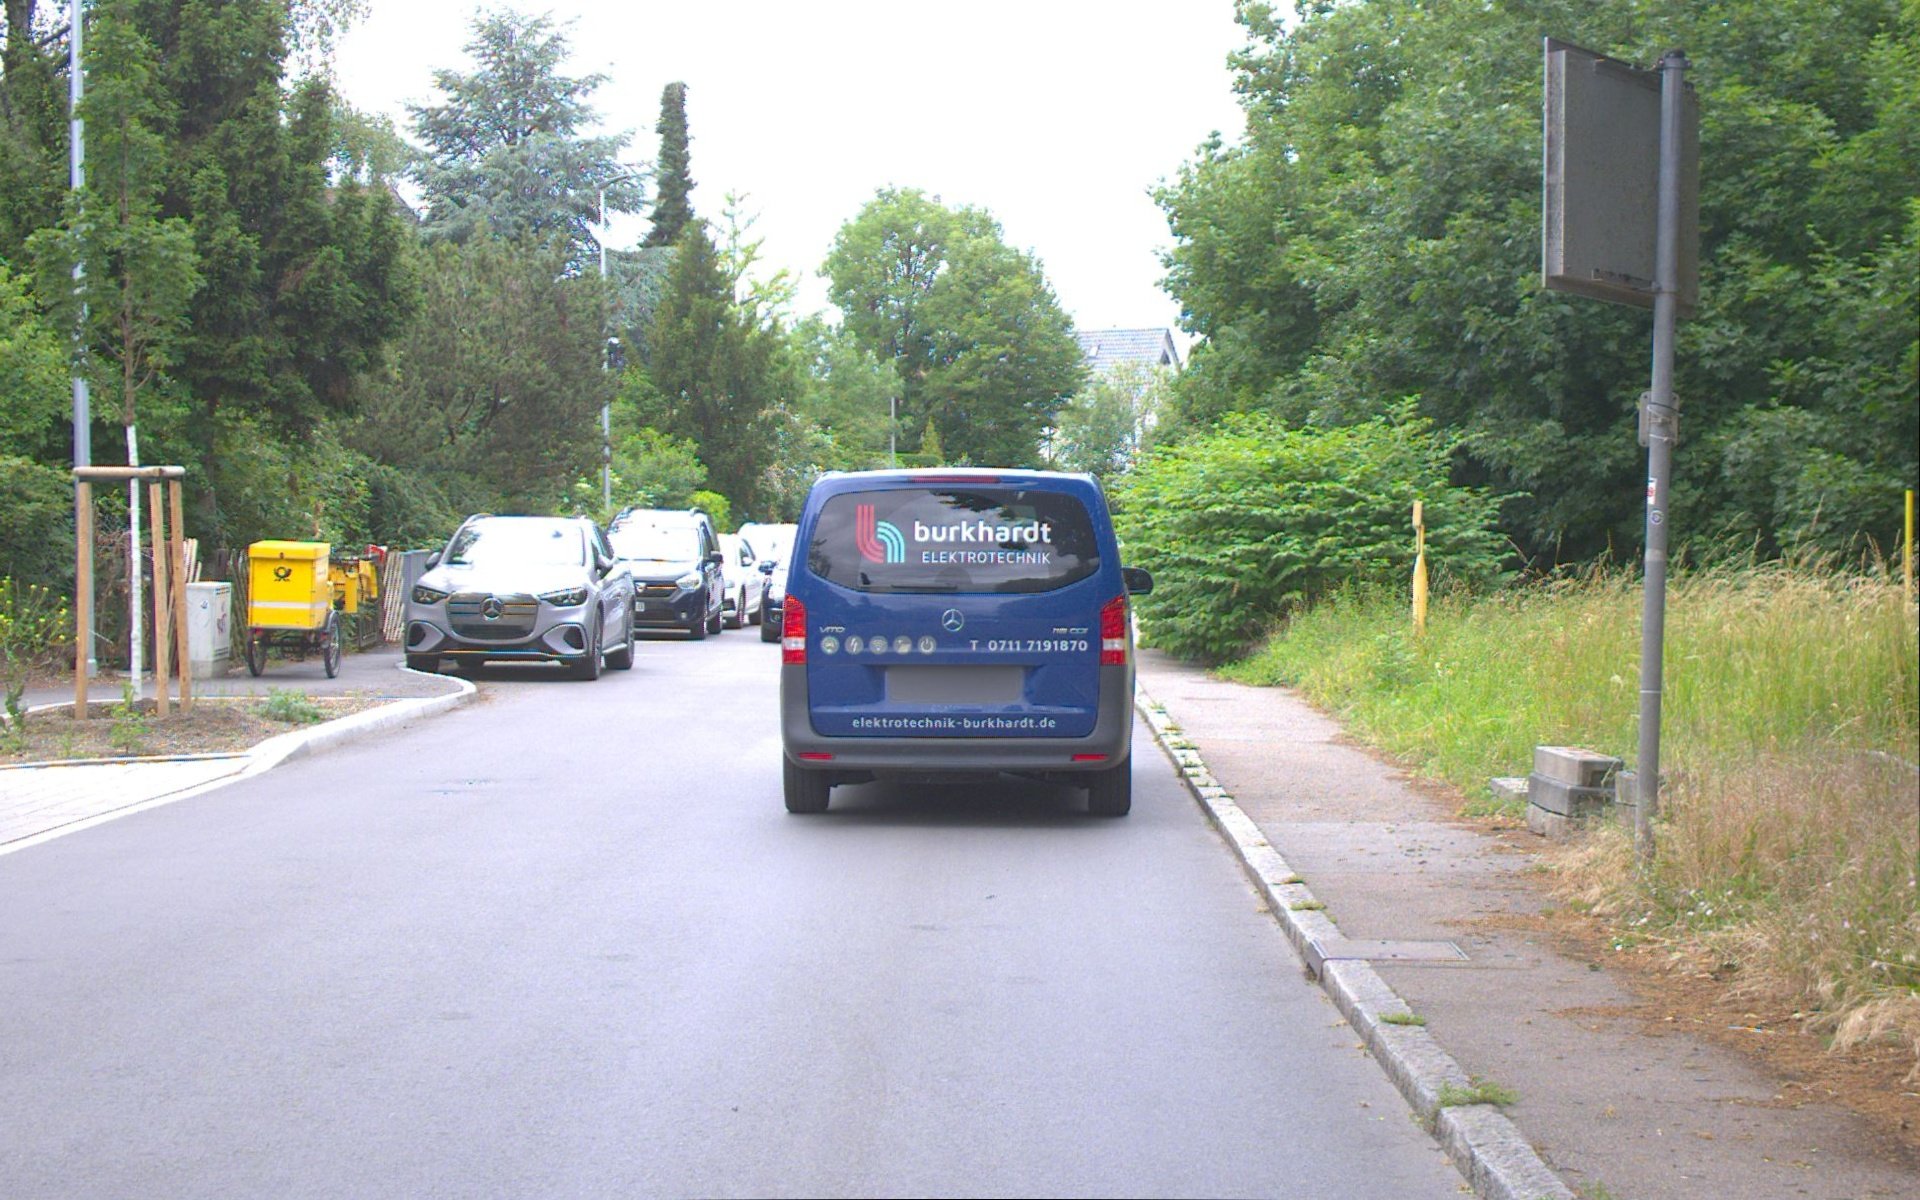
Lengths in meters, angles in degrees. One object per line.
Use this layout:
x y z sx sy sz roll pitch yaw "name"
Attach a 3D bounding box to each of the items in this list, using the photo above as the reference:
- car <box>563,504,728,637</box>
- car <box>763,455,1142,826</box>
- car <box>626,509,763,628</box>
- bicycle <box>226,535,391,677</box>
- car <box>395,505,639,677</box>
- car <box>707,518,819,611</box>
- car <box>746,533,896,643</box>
-4.365 -0.454 48.258 1.832 1.745 4.000 1 2 1 "car"
-0.103 0.126 19.457 1.888 1.837 4.001 1 3 -2 "car"
-4.163 -0.498 54.423 1.831 1.798 4.000 1 0 0 "car"
-6.114 0.030 32.457 0.906 1.247 2.916 2 1 1 "bicycle"
-4.484 -0.133 35.359 1.836 1.625 4.300 1 1 1 "car"
-3.971 -0.755 69.899 1.892 1.686 4.549 1 3 1 "car"
-1.904 -0.195 48.132 1.819 1.438 4.000 1 1 1 "car"
